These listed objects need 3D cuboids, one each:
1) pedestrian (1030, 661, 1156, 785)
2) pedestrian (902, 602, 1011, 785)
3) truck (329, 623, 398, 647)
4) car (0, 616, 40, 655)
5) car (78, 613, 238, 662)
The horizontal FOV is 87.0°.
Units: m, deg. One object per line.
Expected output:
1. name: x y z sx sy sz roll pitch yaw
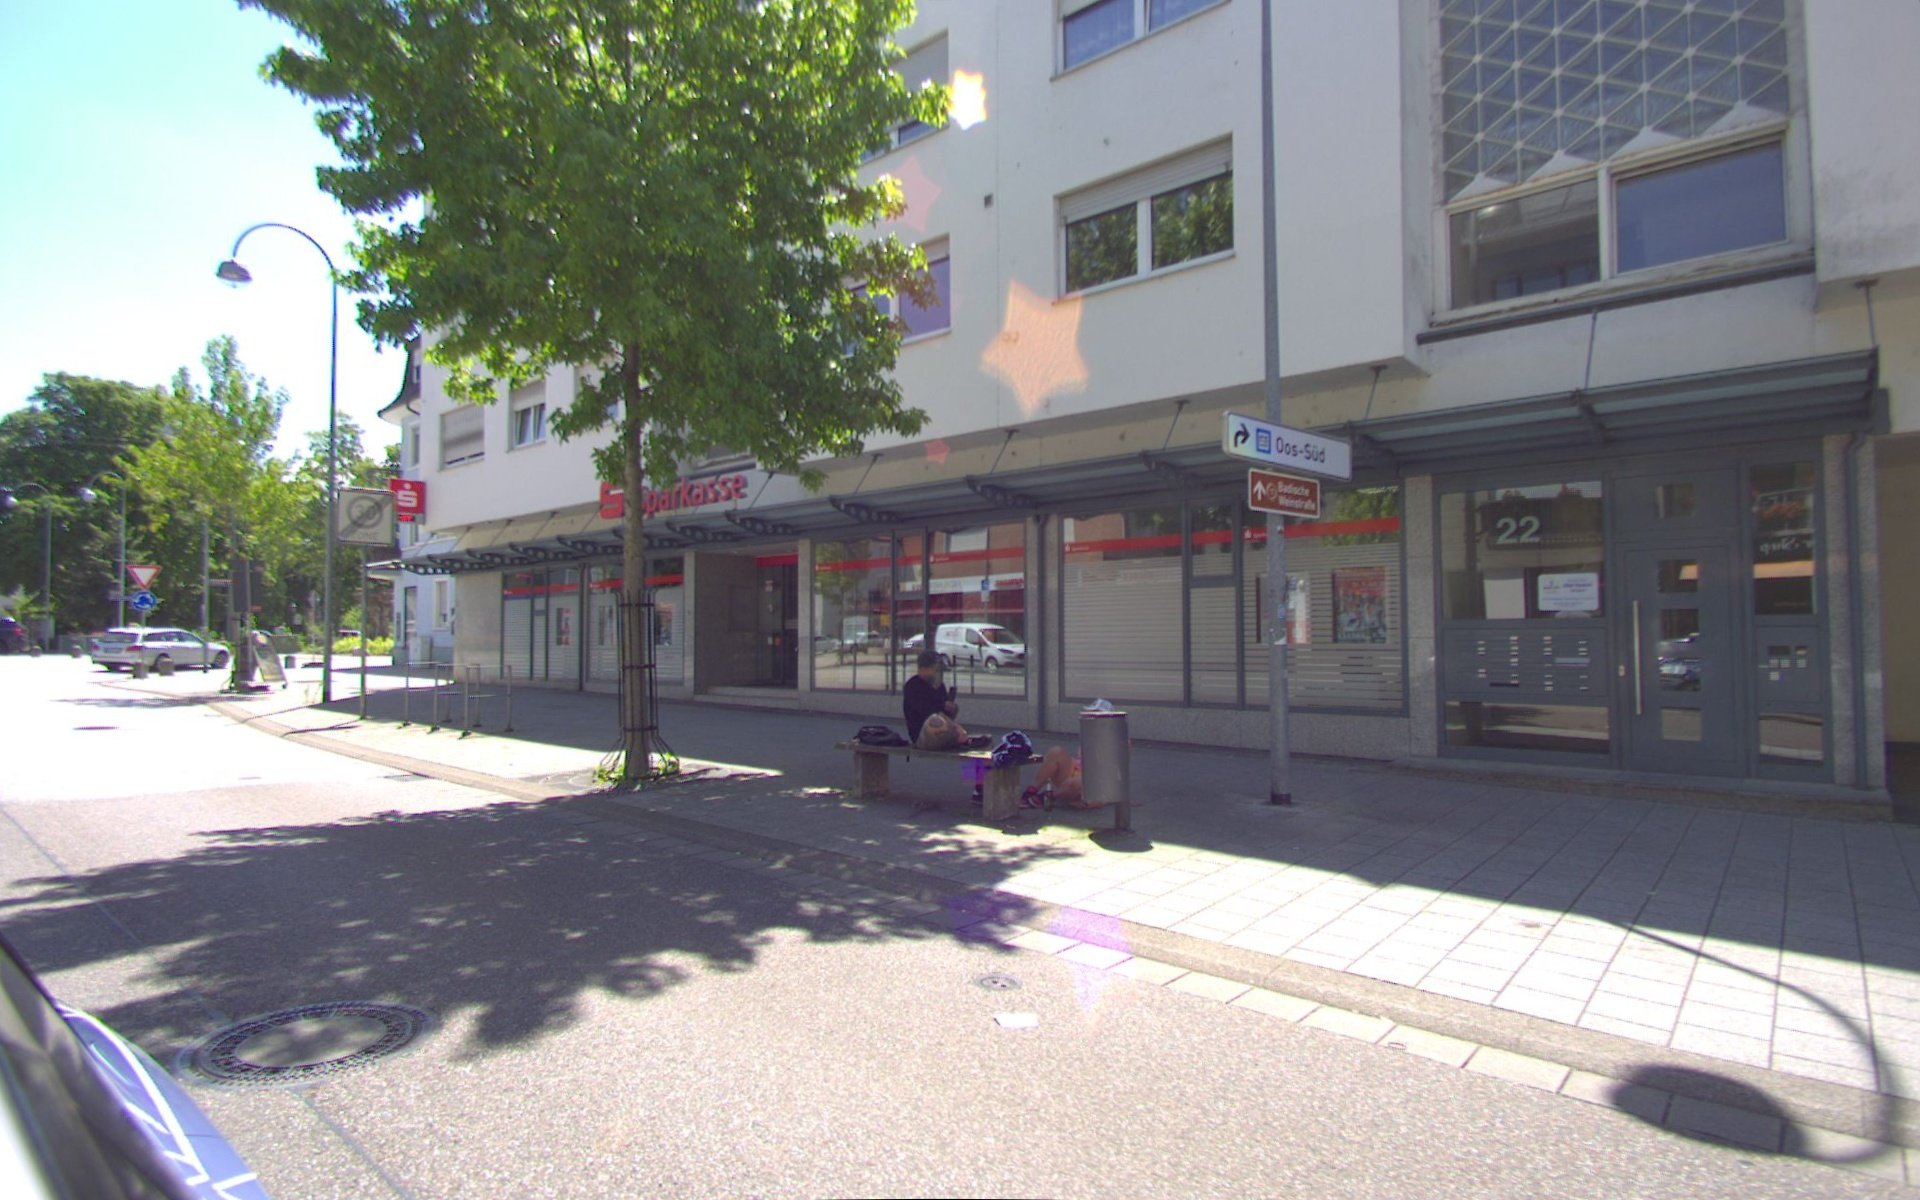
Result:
1. pedestrian: 1.072 0.962 8.179 0.656 0.864 0.734 1 1 -40
2. pedestrian: -0.031 0.724 8.100 0.560 1.382 0.668 2 -3 -40
3. truck: -64.928 3.824 110.325 6.112 2.462 2.271 0 -5 -18
4. car: -42.339 1.511 43.001 4.542 1.597 1.953 2 -5 -36
5. car: -28.671 1.307 36.443 1.970 1.605 5.002 1 -1 -3
